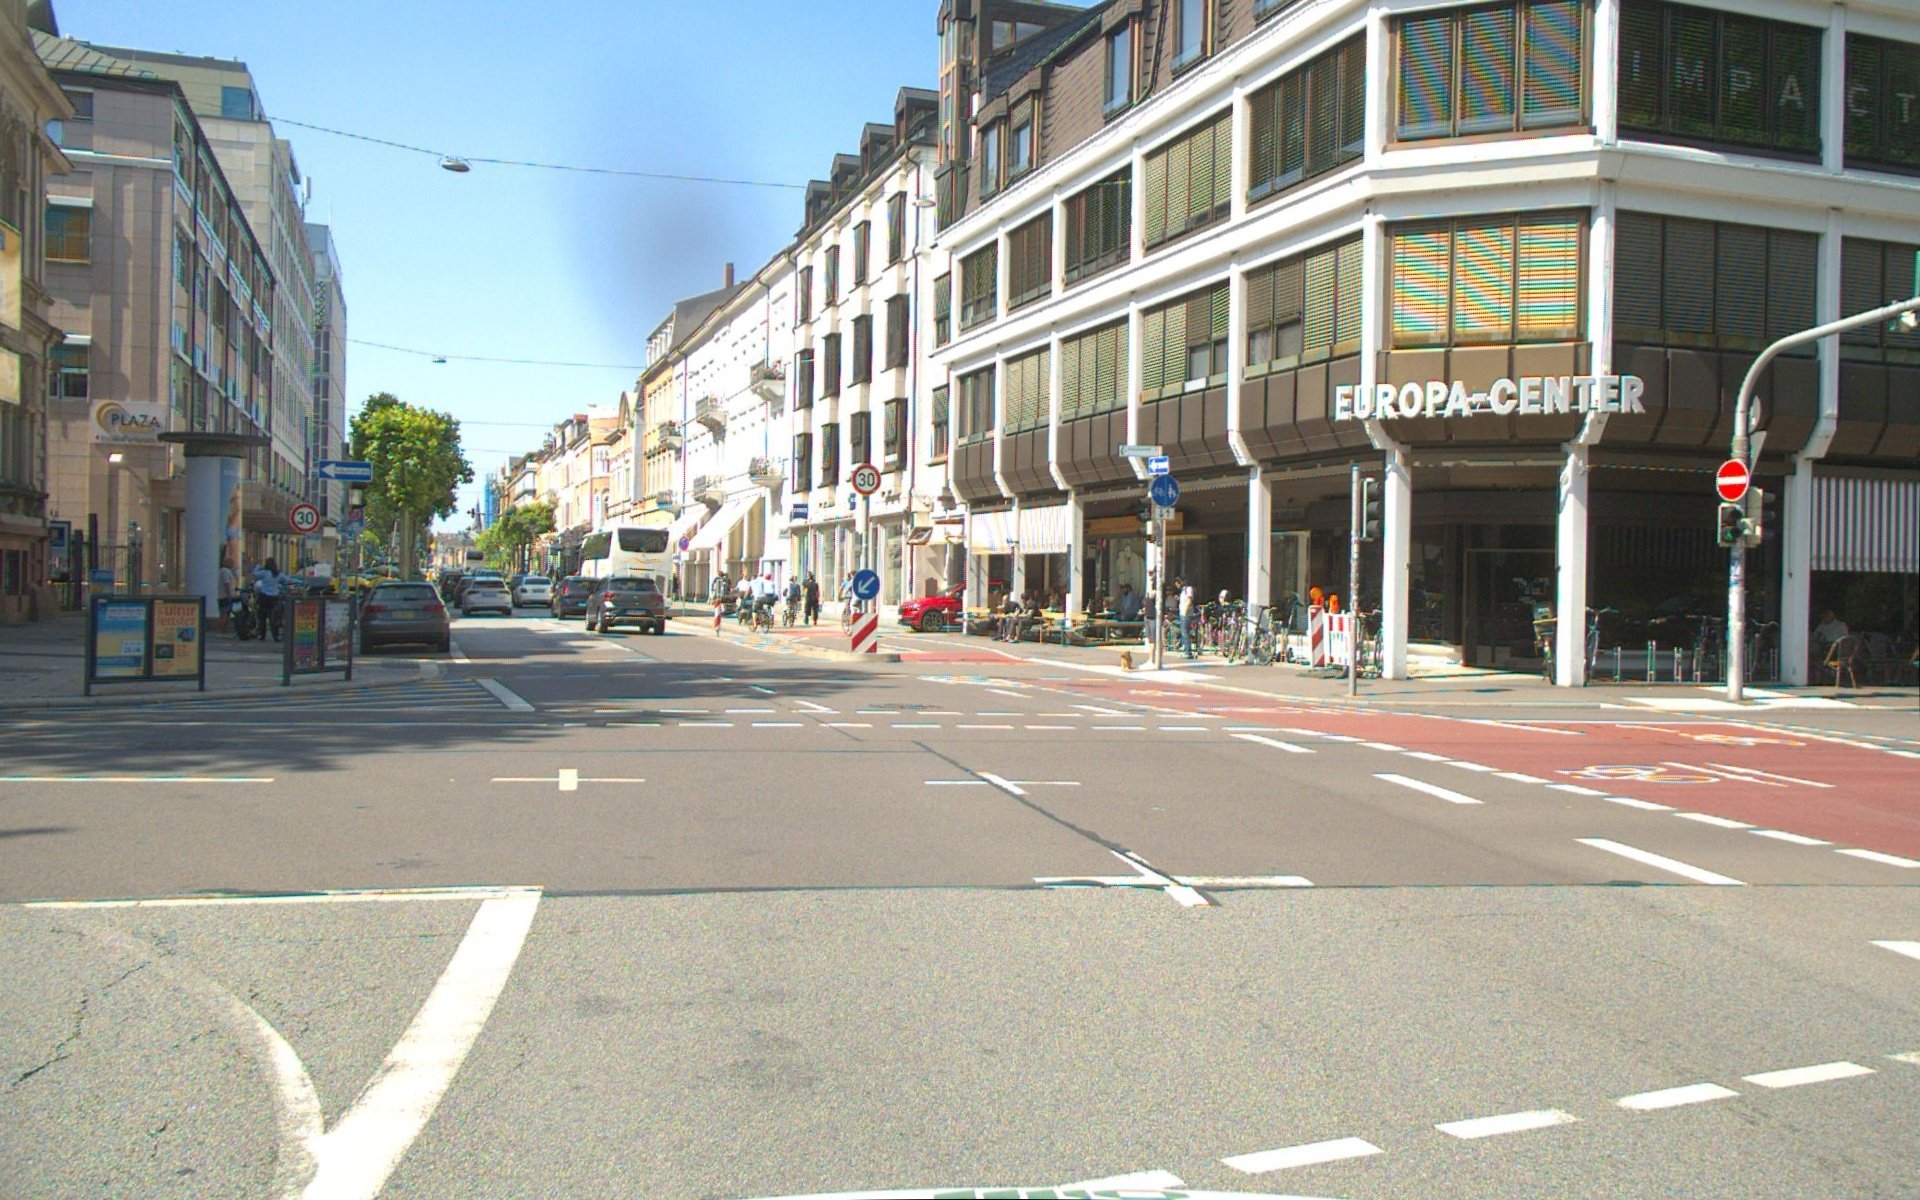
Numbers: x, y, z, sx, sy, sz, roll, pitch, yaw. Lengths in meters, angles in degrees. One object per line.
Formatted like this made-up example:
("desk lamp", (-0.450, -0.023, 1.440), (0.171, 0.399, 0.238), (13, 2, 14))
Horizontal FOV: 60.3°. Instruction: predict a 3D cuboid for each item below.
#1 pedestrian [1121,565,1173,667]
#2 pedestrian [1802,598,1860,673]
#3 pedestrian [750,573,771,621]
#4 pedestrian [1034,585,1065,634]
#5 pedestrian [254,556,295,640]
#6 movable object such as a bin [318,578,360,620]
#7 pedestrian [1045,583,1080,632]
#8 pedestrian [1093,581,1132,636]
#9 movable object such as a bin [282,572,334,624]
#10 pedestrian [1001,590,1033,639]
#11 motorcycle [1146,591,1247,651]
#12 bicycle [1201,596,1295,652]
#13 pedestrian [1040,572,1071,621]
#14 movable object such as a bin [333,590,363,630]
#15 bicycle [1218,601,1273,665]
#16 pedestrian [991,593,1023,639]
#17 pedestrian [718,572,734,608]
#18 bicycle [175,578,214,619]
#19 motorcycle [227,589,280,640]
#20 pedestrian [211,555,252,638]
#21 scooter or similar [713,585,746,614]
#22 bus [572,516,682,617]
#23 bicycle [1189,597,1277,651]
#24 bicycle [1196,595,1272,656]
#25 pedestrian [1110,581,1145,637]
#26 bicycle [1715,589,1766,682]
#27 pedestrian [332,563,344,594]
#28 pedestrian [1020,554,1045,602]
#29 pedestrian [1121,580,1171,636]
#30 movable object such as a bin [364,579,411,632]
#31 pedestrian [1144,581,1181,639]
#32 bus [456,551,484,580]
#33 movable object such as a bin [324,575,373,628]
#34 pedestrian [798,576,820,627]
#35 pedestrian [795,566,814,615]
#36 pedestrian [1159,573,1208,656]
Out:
("pedestrian", (3.490, 0.306, 30.932), (0.817, 1.868, 0.695), (0, -2, -10))
("pedestrian", (16.145, 0.642, 30.646), (0.812, 1.358, 0.968), (1, 0, 35))
("pedestrian", (-7.241, -0.111, 60.034), (0.610, 1.750, 0.831), (1, 0, -18))
("pedestrian", (2.574, 0.262, 47.500), (0.749, 1.391, 0.475), (1, 0, -20))
("pedestrian", (-14.138, -0.036, 34.143), (0.683, 1.725, 0.688), (0, -1, -16))
("movable object such as a bin", (-20.680, -0.027, 55.106), (1.190, 1.322, 1.074), (3, 1, -19))
("pedestrian", (2.915, 0.209, 47.134), (0.864, 1.391, 0.534), (1, 0, -20))
("pedestrian", (3.995, 0.224, 43.428), (0.801, 1.421, 0.692), (1, -1, -21))
("movable object such as a bin", (-19.320, -0.067, 49.046), (1.188, 1.476, 1.360), (2, 1, -13))
("pedestrian", (1.453, 0.382, 42.175), (0.698, 1.238, 0.695), (0, -1, -10))
("motorcycle", (5.280, 0.464, 36.871), (2.188, 1.313, 0.949), (0, -1, 10))
("bicycle", (6.036, 0.501, 34.604), (2.208, 1.140, 0.275), (1, 0, -26))
("pedestrian", (2.771, -0.107, 48.141), (0.733, 1.391, 0.581), (1, 0, -20))
("movable object such as a bin", (-17.682, 0.292, 47.766), (0.714, 1.117, 0.651), (2, 1, -26))
("bicycle", (5.422, 0.607, 31.520), (0.272, 1.140, 2.238), (1, 1, -10))
("pedestrian", (1.217, 0.414, 42.995), (0.698, 1.193, 0.695), (0, -1, -10))
("pedestrian", (-10.952, -0.468, 77.272), (0.635, 1.645, 0.818), (1, -1, -16))
("bicycle", (-20.608, -0.047, 44.511), (0.485, 1.080, 1.999), (1, 0, -38))
("motorcycle", (-14.727, 0.291, 34.519), (0.445, 1.015, 2.156), (2, -1, -9))
("pedestrian", (-15.143, -0.072, 34.397), (0.539, 1.694, 0.934), (0, -1, -10))
("scooter or similar", (-9.018, -0.017, 64.693), (1.105, 1.121, 1.079), (1, 0, -20))
("bus", (-14.430, -1.394, 70.757), (2.838, 3.807, 12.358), (3, 0, -19))
("bicycle", (5.813, 0.515, 35.178), (2.214, 1.116, 0.274), (1, 0, -33))
("bicycle", (5.586, 0.517, 33.749), (1.518, 1.228, 0.277), (1, 0, -12))
("pedestrian", (4.319, 0.237, 42.652), (0.700, 1.421, 0.693), (0, -1, -19))
("bicycle", (12.950, 0.563, 27.416), (0.520, 1.447, 1.962), (1, 2, 32))
("pedestrian", (-34.018, -1.166, 90.404), (0.559, 1.686, 0.631), (0, 1, -26))
("pedestrian", (2.096, -0.636, 47.868), (0.527, 1.391, 0.686), (1, 0, -18))
("pedestrian", (4.663, 0.201, 41.566), (0.882, 1.374, 1.099), (0, -1, -19))
("movable object such as a bin", (-17.106, 0.151, 49.449), (1.104, 1.476, 1.434), (2, 1, -13))
("pedestrian", (4.977, 0.245, 40.663), (0.700, 1.421, 0.693), (0, -1, -19))
("bus", (-63.417, -4.458, 213.998), (2.731, 3.668, 8.917), (0, 1, -21))
("movable object such as a bin", (-18.181, 0.039, 49.190), (1.104, 1.476, 1.434), (2, 1, -13))
("pedestrian", (-5.182, 0.055, 56.858), (0.610, 1.750, 0.832), (1, 0, -16))
("pedestrian", (-5.971, -0.352, 63.409), (0.682, 1.883, 0.833), (0, -1, -10))
("pedestrian", (4.584, 0.299, 33.971), (0.817, 1.692, 0.695), (0, -1, -10))
